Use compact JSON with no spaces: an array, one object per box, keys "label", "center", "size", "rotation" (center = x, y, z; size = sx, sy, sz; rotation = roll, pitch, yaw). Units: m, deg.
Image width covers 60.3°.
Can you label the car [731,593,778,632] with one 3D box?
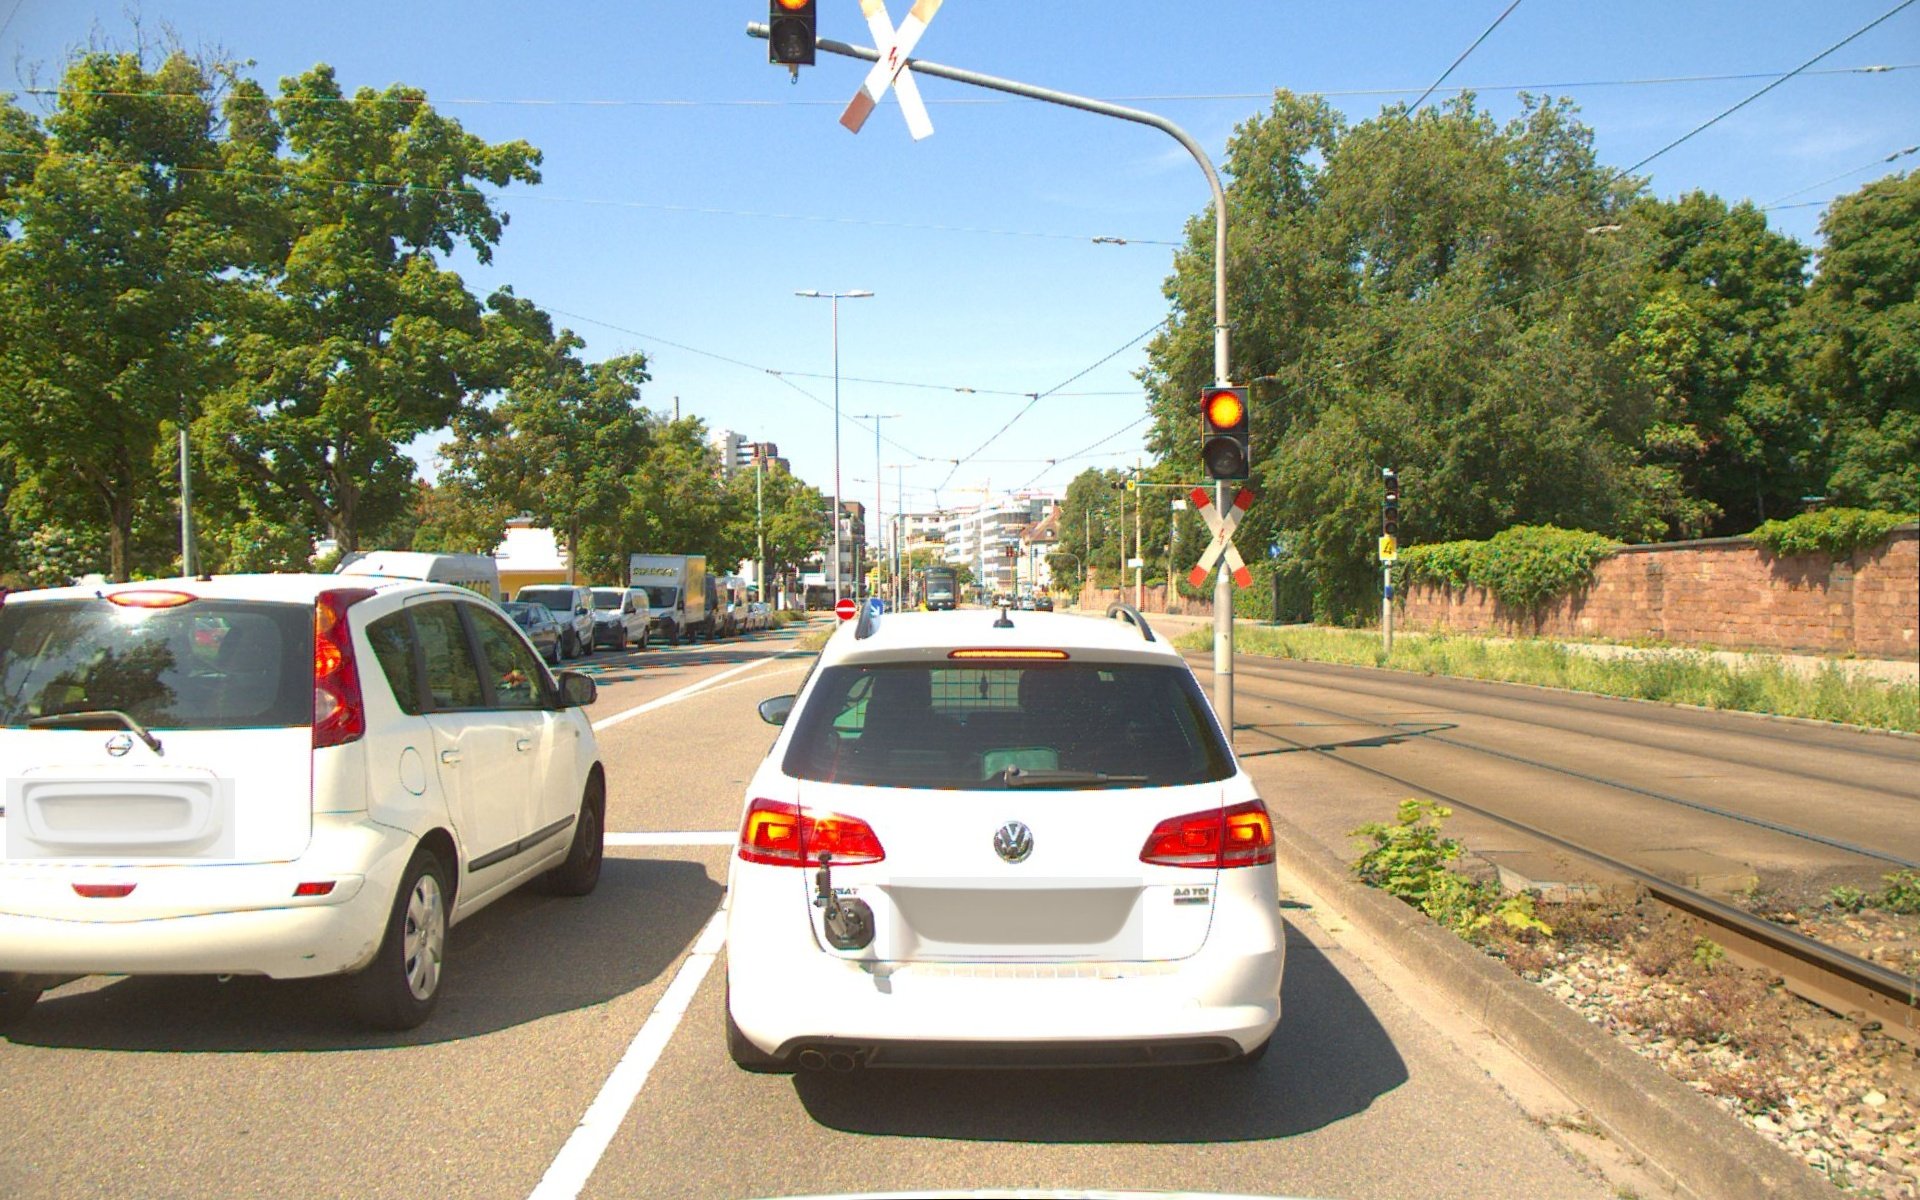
[{"label":"car","center":[-10.478,0.607,84.705],"size":[1.826,1.900,5.412],"rotation":[1,0,-1]}]

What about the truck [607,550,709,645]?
[{"label":"truck","center":[-10.878,-0.092,60.157],"size":[2.371,3.205,6.996],"rotation":[1,0,0]}]

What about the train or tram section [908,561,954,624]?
[{"label":"train or tram section","center":[-1.888,-0.504,109.887],"size":[2.812,3.923,12.389],"rotation":[-1,0,-1]}]

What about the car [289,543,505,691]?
[{"label":"car","center":[-10.741,0.289,32.136],"size":[2.079,2.560,5.817],"rotation":[1,0,1]}]

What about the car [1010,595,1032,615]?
[{"label":"car","center":[6.200,0.517,168.451],"size":[1.826,1.900,5.060],"rotation":[1,0,-2]}]

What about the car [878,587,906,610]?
[{"label":"car","center":[-4.626,-0.118,112.569],"size":[1.670,1.499,4.589],"rotation":[-1,0,0]}]

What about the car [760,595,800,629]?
[{"label":"car","center":[-10.691,0.696,98.433],"size":[1.826,1.900,5.412],"rotation":[1,0,-1]}]

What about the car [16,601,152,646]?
[{"label":"car","center":[-37.750,1.006,71.394],"size":[4.698,1.819,2.062],"rotation":[1,0,-5]}]

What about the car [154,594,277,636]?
[{"label":"car","center":[-34.361,0.690,76.468],"size":[4.698,1.819,2.062],"rotation":[1,0,-5]}]

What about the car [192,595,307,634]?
[{"label":"car","center":[-34.884,0.702,81.311],"size":[4.698,1.819,2.062],"rotation":[1,0,-5]}]

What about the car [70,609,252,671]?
[{"label":"car","center":[-21.103,1.041,43.793],"size":[3.909,1.440,1.728],"rotation":[-2,0,-5]}]

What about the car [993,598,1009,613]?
[{"label":"car","center":[5.480,0.719,223.260],"size":[1.826,1.900,5.060],"rotation":[1,0,-2]}]

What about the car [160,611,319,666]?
[{"label":"car","center":[-21.269,1.119,48.939],"size":[3.909,1.440,1.728],"rotation":[-2,0,-5]}]

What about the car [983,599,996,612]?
[{"label":"car","center":[4.574,0.827,258.489],"size":[1.826,1.900,5.060],"rotation":[1,0,-2]}]

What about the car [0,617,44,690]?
[{"label":"car","center":[-20.731,1.137,32.973],"size":[3.909,1.440,1.728],"rotation":[-2,0,-5]}]

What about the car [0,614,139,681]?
[{"label":"car","center":[-21.611,1.131,38.644],"size":[3.909,1.440,1.728],"rotation":[-2,0,-5]}]

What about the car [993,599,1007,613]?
[{"label":"car","center":[5.854,0.895,243.661],"size":[1.826,1.900,5.060],"rotation":[1,0,-2]}]

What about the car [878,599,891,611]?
[{"label":"car","center":[-9.875,0.608,215.674],"size":[1.672,1.499,4.586],"rotation":[-1,0,-3]}]

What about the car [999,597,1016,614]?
[{"label":"car","center":[5.744,0.662,200.676],"size":[1.826,1.900,5.060],"rotation":[1,0,-2]}]

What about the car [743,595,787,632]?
[{"label":"car","center":[-10.746,0.715,91.516],"size":[1.826,1.900,5.412],"rotation":[1,0,-1]}]

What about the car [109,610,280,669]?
[{"label":"car","center":[-21.281,1.074,46.121],"size":[3.909,1.440,1.728],"rotation":[-2,0,-5]}]

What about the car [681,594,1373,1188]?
[{"label":"car","center":[0.146,0.727,6.193],"size":[1.726,1.455,3.999],"rotation":[-1,0,-1]}]

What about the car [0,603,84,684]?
[{"label":"car","center":[-21.072,0.977,35.127],"size":[3.909,1.638,1.728],"rotation":[-2,0,-5]}]

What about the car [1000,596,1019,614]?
[{"label":"car","center":[5.508,0.530,185.054],"size":[1.826,1.900,5.060],"rotation":[1,0,-2]}]

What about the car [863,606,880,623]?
[{"label":"car","center":[-10.278,1.705,192.182],"size":[1.726,1.929,4.913],"rotation":[1,0,-1]}]

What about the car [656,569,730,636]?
[{"label":"car","center":[-10.925,0.086,68.156],"size":[2.079,2.560,5.733],"rotation":[1,0,0]}]

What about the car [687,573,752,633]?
[{"label":"car","center":[-10.945,0.121,75.591],"size":[2.079,2.560,5.733],"rotation":[1,0,0]}]

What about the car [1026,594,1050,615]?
[{"label":"car","center":[7.183,0.393,152.918],"size":[1.826,1.900,5.060],"rotation":[1,0,-2]}]

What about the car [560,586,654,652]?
[{"label":"car","center":[-10.958,0.546,51.732],"size":[1.826,1.900,5.412],"rotation":[1,0,-1]}]

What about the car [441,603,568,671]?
[{"label":"car","center":[-10.522,0.818,38.510],"size":[1.826,1.440,4.278],"rotation":[1,0,-1]}]

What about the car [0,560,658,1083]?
[{"label":"car","center":[-2.565,0.658,7.262],"size":[1.628,1.575,4.546],"rotation":[0,0,0]}]

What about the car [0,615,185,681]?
[{"label":"car","center":[-21.726,1.183,41.252],"size":[3.909,1.440,1.728],"rotation":[-2,0,-5]}]

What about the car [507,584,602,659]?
[{"label":"car","center":[-10.994,0.547,45.145],"size":[1.827,1.900,5.068],"rotation":[1,0,-6]}]
